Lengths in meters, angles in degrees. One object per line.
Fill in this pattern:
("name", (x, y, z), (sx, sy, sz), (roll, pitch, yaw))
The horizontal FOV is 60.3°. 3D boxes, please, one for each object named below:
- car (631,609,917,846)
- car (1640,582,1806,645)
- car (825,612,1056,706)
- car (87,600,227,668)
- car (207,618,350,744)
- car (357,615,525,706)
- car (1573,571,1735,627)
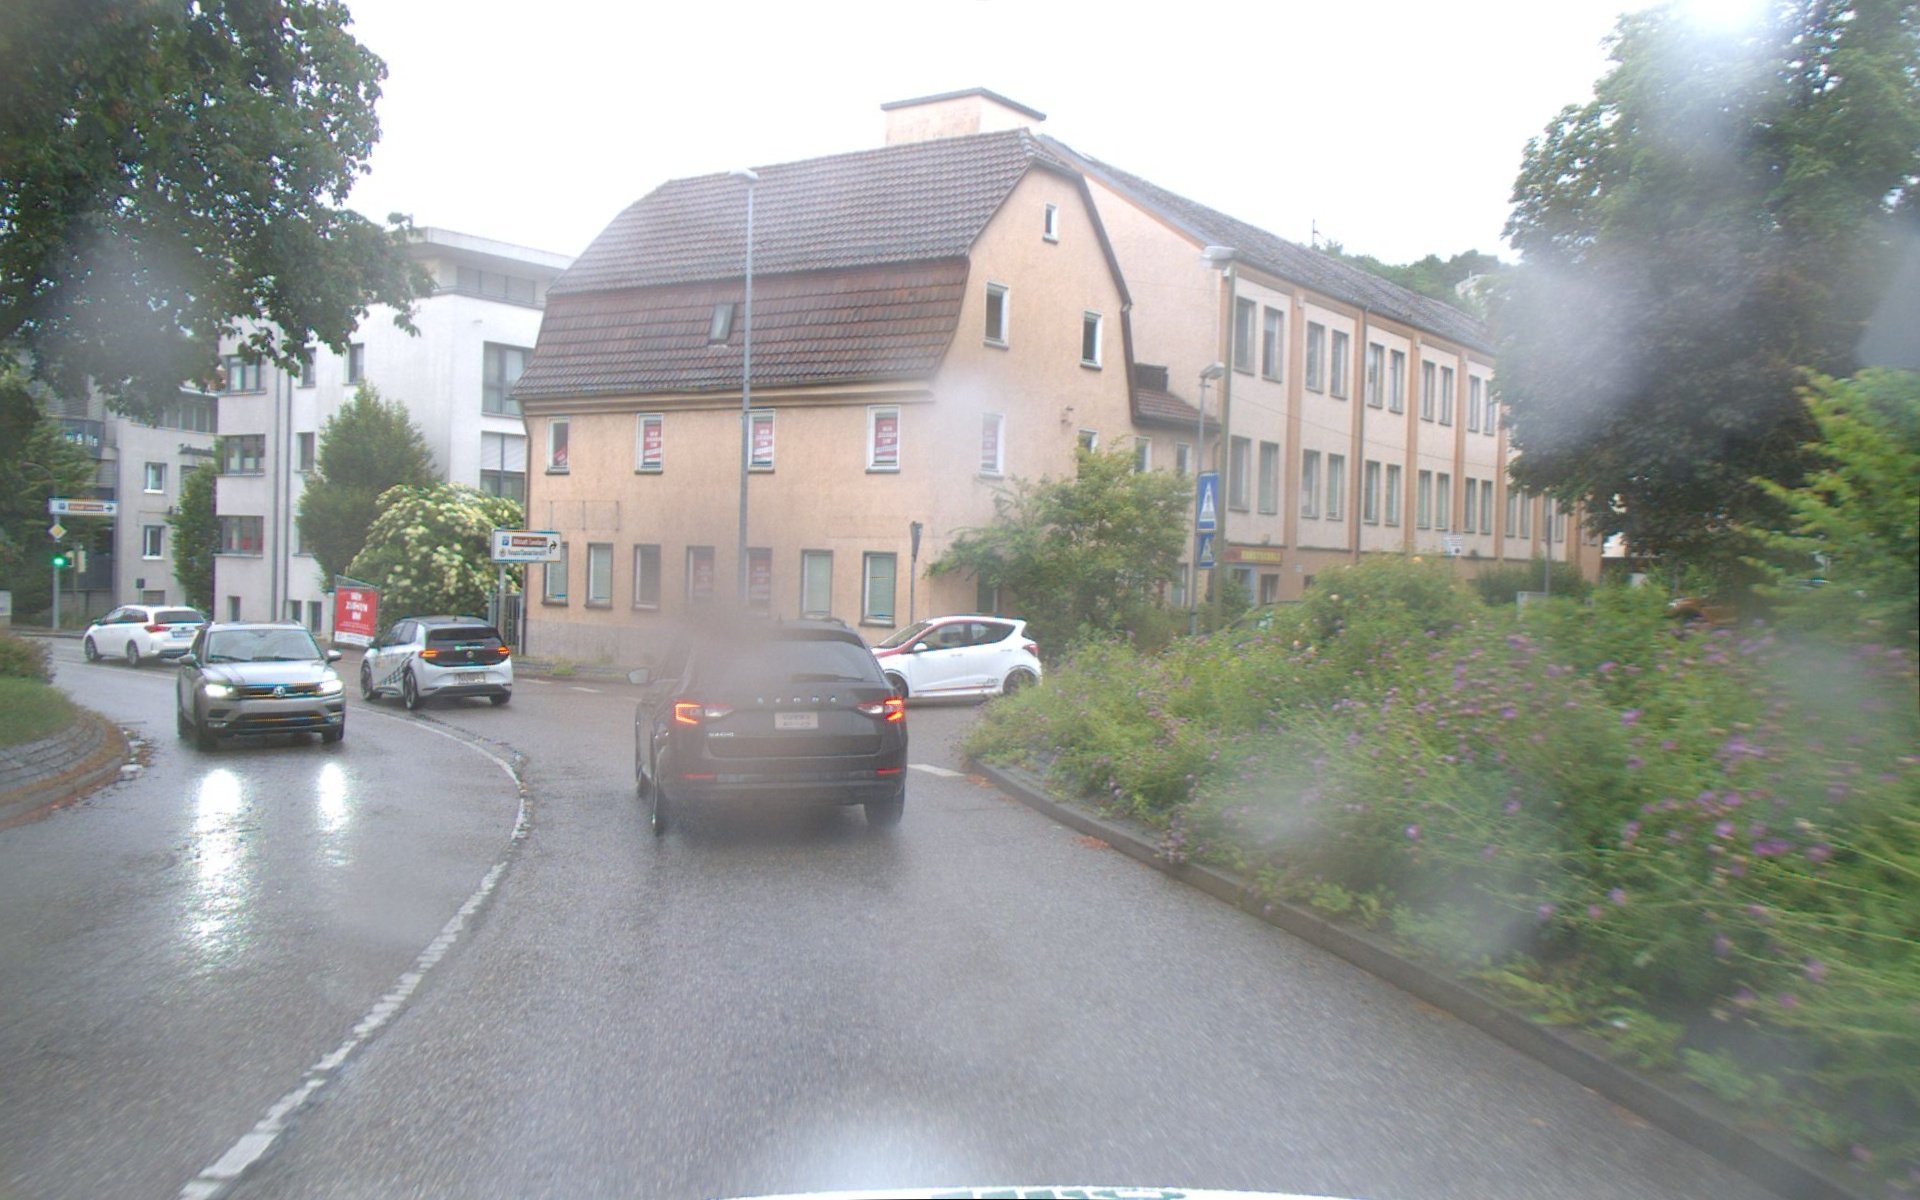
("car", (-1.612, 0.856, 12.885), (1.751, 1.509, 4.231), (0, -1, -13))
("car", (20.384, 0.329, 44.227), (3.825, 1.600, 1.713), (0, 1, 35))
("car", (-0.351, 0.988, 28.646), (3.692, 1.478, 1.704), (-1, 0, -17))
("car", (-20.180, 0.874, 41.481), (4.109, 1.618, 1.723), (-1, -3, 42))
("car", (-9.611, 1.077, 23.157), (1.706, 1.570, 4.266), (0, -2, -25))
("car", (-9.437, 1.045, 29.902), (1.802, 1.383, 3.941), (1, 1, -35))
("car", (20.350, -0.044, 48.668), (4.314, 1.600, 1.719), (0, 0, 21))
